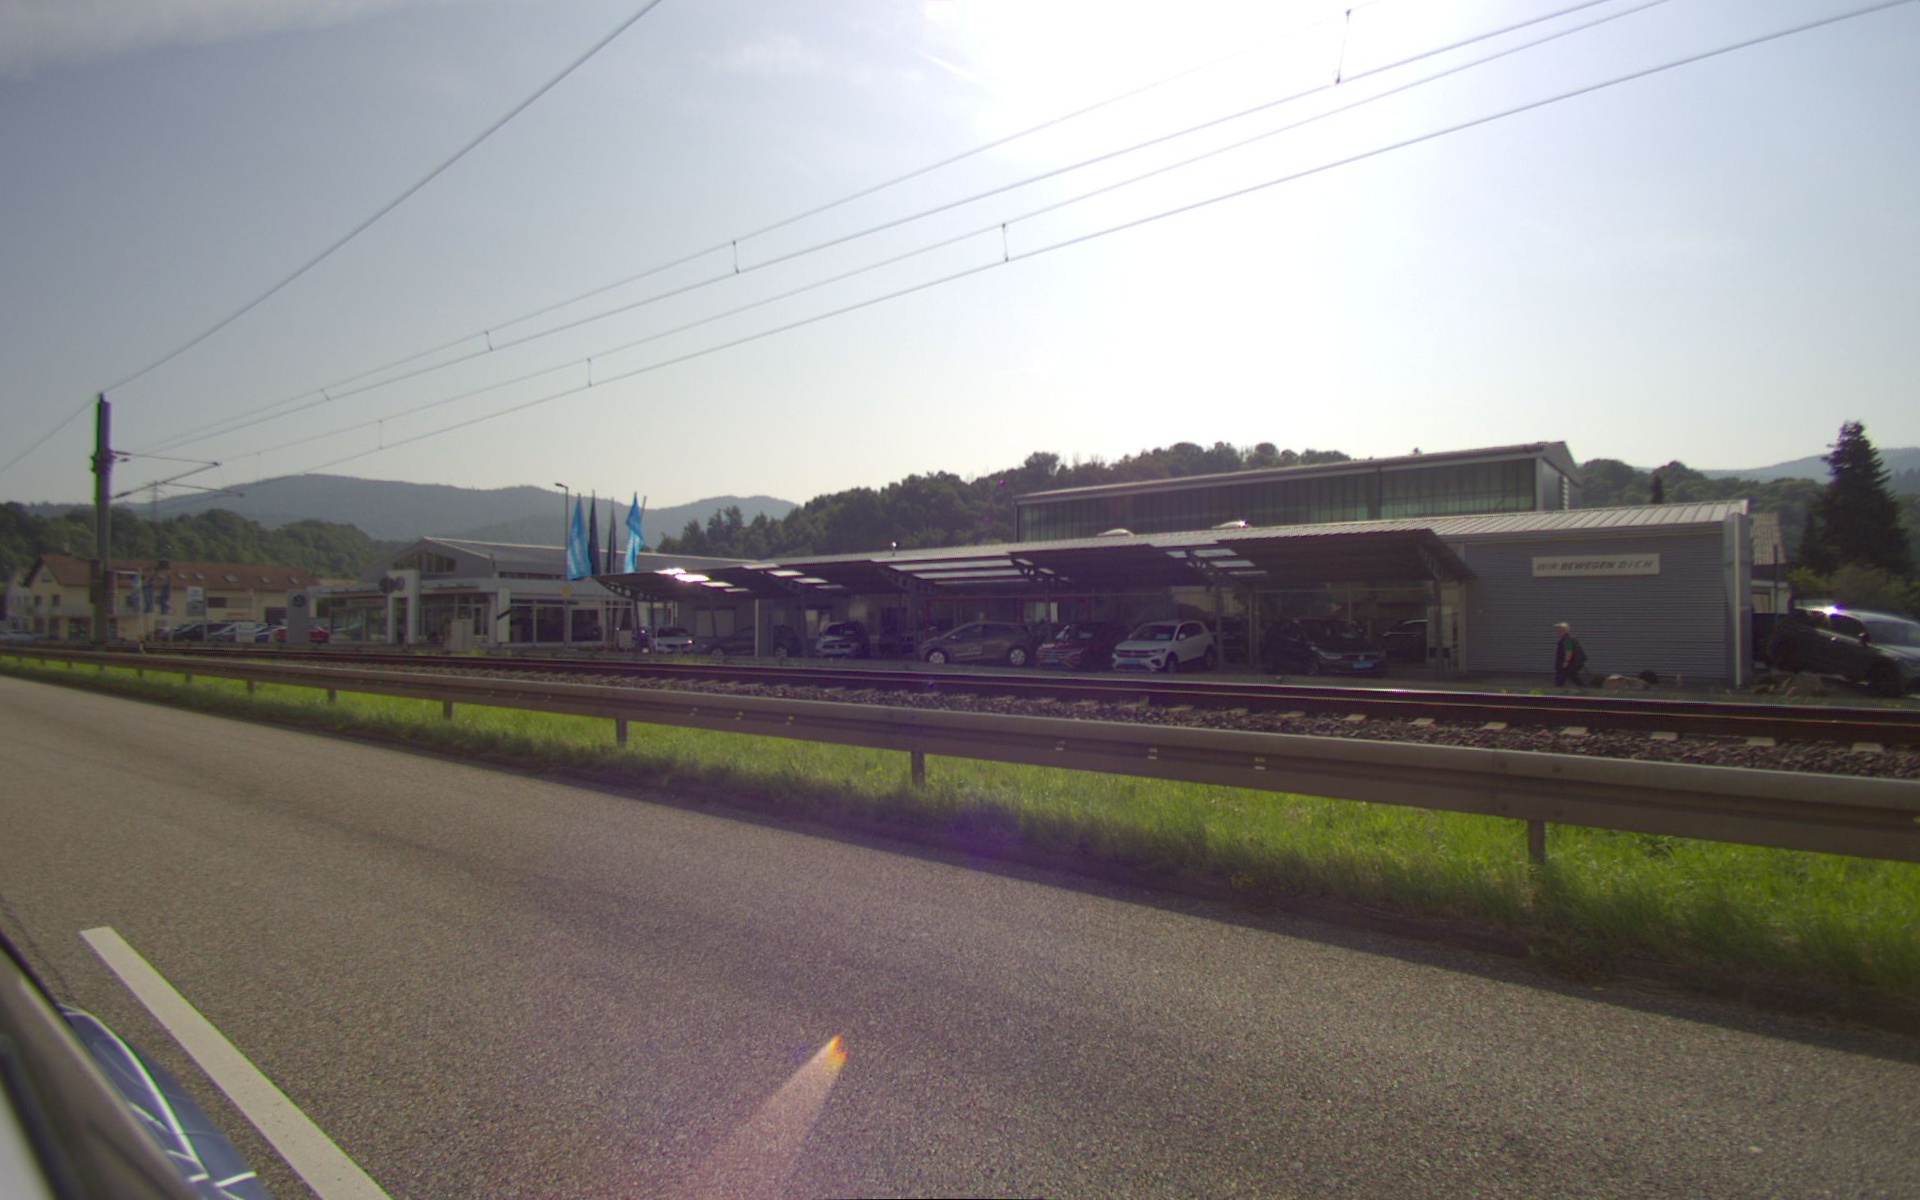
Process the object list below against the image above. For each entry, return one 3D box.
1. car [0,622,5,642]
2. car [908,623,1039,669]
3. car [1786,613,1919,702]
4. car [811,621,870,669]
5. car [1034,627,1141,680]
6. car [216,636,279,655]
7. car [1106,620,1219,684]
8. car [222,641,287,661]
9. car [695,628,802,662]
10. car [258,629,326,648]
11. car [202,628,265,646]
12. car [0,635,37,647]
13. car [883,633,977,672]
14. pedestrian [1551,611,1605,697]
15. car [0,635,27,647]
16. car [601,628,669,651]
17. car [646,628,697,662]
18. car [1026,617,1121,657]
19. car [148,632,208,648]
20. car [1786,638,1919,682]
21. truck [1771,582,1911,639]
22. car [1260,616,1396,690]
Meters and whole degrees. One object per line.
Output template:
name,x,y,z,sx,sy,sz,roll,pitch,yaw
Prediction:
car,-121.682,3.987,124.669,2.231,2.435,5.525,-2,-2,34
car,0.481,1.561,34.782,4.375,1.517,1.846,0,-1,2
car,20.235,1.192,21.997,1.504,1.541,3.995,0,3,5
car,-4.578,1.698,39.181,1.821,1.539,4.272,-2,1,-1
car,4.036,1.612,31.462,1.500,1.335,3.919,-1,1,38
car,-59.387,3.786,84.411,1.757,1.471,3.950,-2,-2,37
car,6.029,1.472,29.823,1.661,1.539,3.919,-1,1,38
car,-56.878,4.099,81.663,1.757,1.471,3.950,-2,-2,37
car,-8.802,1.856,42.377,4.147,1.352,1.848,0,-1,-2
car,-50.931,2.925,77.225,1.855,1.385,3.957,-1,-2,31
car,-61.200,3.103,85.336,1.757,1.471,3.950,-2,-2,37
car,-106.346,4.624,113.506,1.643,1.309,3.817,-1,-2,32
car,-1.244,2.221,43.534,1.905,1.517,4.126,-1,-2,36
pedestrian,12.878,1.114,21.084,0.834,1.747,0.794,-2,-2,38
car,-108.616,4.690,114.810,1.643,1.309,3.817,-1,-2,32
car,-20.498,2.477,64.007,1.616,1.431,3.952,-2,-2,35
car,-12.928,1.966,45.241,1.815,1.396,4.537,0,-2,-21
car,4.557,1.441,40.283,1.906,1.517,4.124,-2,-2,38
car,-70.108,3.577,90.744,1.757,1.471,3.950,-2,-2,37
car,27.361,1.785,30.630,3.477,1.278,1.441,-2,-2,33
truck,39.701,0.463,45.788,4.636,2.443,1.975,0,-1,38
car,9.639,1.337,26.879,1.637,1.634,4.039,-2,1,-8
